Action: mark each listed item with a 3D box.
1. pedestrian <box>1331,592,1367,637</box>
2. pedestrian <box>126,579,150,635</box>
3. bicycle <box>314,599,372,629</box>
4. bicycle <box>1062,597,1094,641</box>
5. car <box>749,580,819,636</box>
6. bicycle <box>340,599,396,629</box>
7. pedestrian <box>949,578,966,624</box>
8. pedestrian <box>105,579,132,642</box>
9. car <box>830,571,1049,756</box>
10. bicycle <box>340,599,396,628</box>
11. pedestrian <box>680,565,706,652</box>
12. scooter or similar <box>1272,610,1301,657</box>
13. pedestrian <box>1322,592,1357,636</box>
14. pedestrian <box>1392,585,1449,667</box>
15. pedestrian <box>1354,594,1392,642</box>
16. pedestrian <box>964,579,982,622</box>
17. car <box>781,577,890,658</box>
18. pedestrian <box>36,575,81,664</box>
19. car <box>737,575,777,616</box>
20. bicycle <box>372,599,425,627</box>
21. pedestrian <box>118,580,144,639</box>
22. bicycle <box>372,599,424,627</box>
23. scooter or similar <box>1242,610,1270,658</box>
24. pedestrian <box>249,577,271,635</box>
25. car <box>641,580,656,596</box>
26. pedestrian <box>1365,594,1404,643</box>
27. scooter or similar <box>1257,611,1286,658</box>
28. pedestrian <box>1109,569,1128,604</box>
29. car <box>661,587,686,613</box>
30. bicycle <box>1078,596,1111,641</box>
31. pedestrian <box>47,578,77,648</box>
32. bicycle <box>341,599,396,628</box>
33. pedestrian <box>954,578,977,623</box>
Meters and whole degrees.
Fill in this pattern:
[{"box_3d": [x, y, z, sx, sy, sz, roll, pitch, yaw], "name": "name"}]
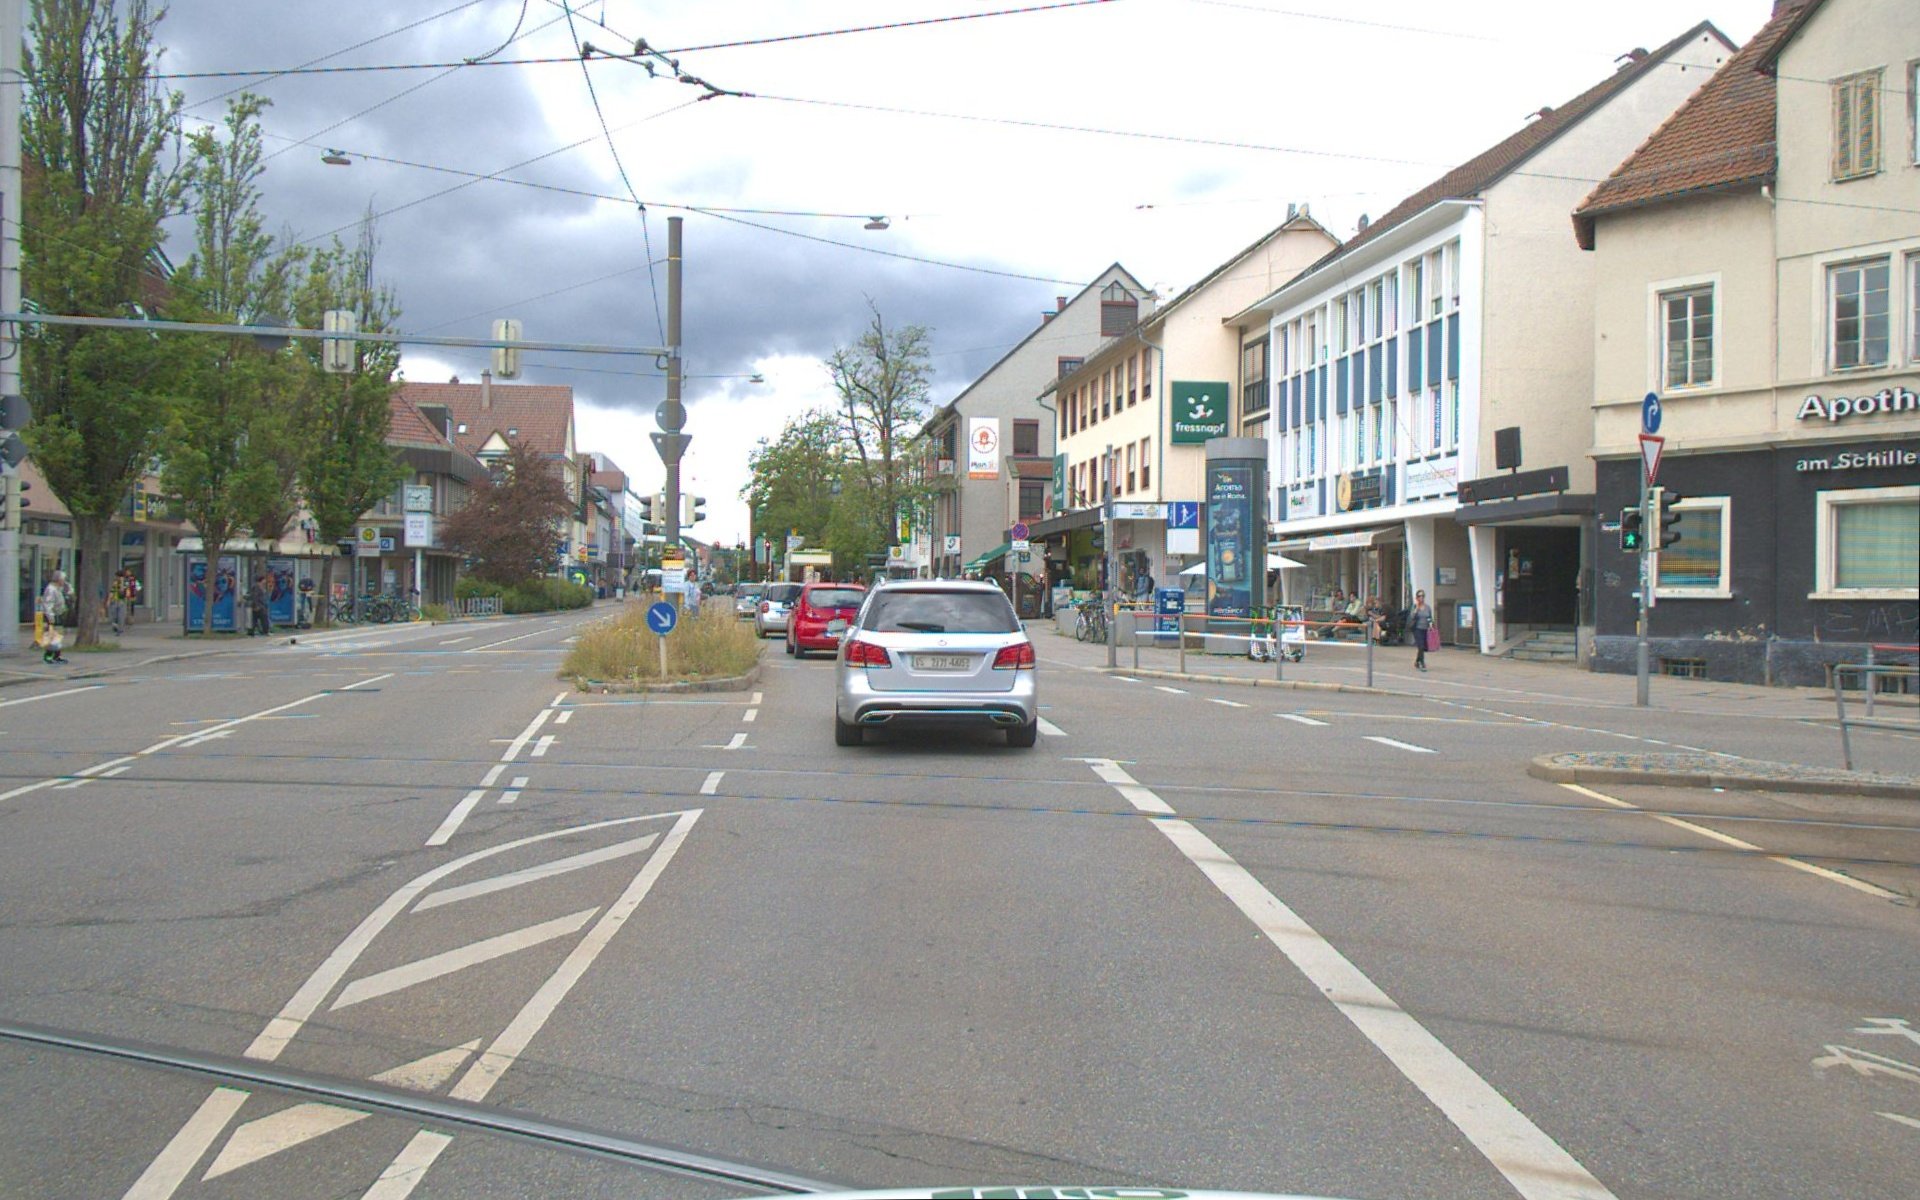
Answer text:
[{"box_3d": [10.450, 0.388, 44.466, 0.723, 1.184, 0.641, 1, 0, -11], "name": "pedestrian"}, {"box_3d": [-24.477, 0.205, 49.253, 0.569, 1.634, 0.640, 0, 0, -21], "name": "pedestrian"}, {"box_3d": [-22.417, 0.498, 60.139, 1.907, 1.047, 0.528, 1, 0, -18], "name": "bicycle"}, {"box_3d": [3.057, 0.485, 43.056, 0.439, 1.110, 2.146, 0, 0, -7], "name": "bicycle"}, {"box_3d": [-5.052, 0.205, 47.150, 1.703, 1.534, 3.991, 0, 1, -10], "name": "car"}, {"box_3d": [-21.807, 0.511, 60.972, 1.907, 1.047, 0.528, 1, 0, -18], "name": "bicycle"}, {"box_3d": [-0.098, 0.034, 62.287, 0.566, 1.695, 0.651, 1, 0, -2], "name": "pedestrian"}, {"box_3d": [-22.253, 0.277, 43.747, 0.569, 1.634, 0.640, 0, 0, -21], "name": "pedestrian"}, {"box_3d": [-0.136, 0.503, 15.773, 1.807, 1.534, 4.172, 0, 1, 1], "name": "car"}, {"box_3d": [-22.030, 0.504, 61.605, 1.907, 1.047, 0.528, 1, 0, -18], "name": "bicycle"}, {"box_3d": [-5.579, 0.175, 34.549, 0.523, 1.794, 0.578, 0, 0, -10], "name": "pedestrian"}, {"box_3d": [7.180, 0.731, 36.405, 0.266, 1.019, 1.026, 0, 0, -11], "name": "scooter or similar"}, {"box_3d": [10.346, 0.374, 45.119, 0.723, 1.184, 0.641, 1, 0, -11], "name": "pedestrian"}, {"box_3d": [9.185, 0.513, 32.977, 0.633, 1.619, 0.890, 1, 0, -28], "name": "pedestrian"}, {"box_3d": [10.456, 0.447, 41.869, 0.723, 1.184, 0.641, 1, 0, -11], "name": "pedestrian"}, {"box_3d": [0.461, 0.012, 58.600, 0.566, 1.495, 0.651, 1, 0, 2], "name": "pedestrian"}, {"box_3d": [-2.578, 0.324, 33.499, 1.703, 1.534, 3.989, 1, 0, -11], "name": "car"}, {"box_3d": [-16.743, 0.350, 30.722, 0.624, 1.634, 0.700, 0, 0, -21], "name": "pedestrian"}, {"box_3d": [-8.980, -0.216, 73.136, 1.701, 1.789, 3.994, 0, 1, -7], "name": "car"}, {"box_3d": [-21.725, 0.505, 64.022, 1.907, 1.047, 0.528, 1, 0, -18], "name": "bicycle"}, {"box_3d": [-23.084, 0.250, 46.054, 0.569, 1.634, 0.640, 0, 0, -21], "name": "pedestrian"}, {"box_3d": [-22.056, 0.494, 64.956, 1.907, 1.047, 0.528, 1, 0, -18], "name": "bicycle"}, {"box_3d": [6.481, 0.746, 36.233, 0.266, 1.019, 1.026, 0, 0, -11], "name": "scooter or similar"}, {"box_3d": [-19.159, 0.173, 45.268, 0.526, 1.573, 0.575, 0, 0, -24], "name": "pedestrian"}, {"box_3d": [-43.232, -1.680, 229.381, 1.958, 2.049, 3.989, 1, 0, -11], "name": "car"}, {"box_3d": [10.576, 0.451, 41.223, 0.723, 1.184, 0.641, 1, 0, -11], "name": "pedestrian"}, {"box_3d": [6.830, 0.749, 36.323, 0.266, 1.019, 1.026, 0, 0, -11], "name": "scooter or similar"}, {"box_3d": [5.646, -0.492, 59.046, 0.523, 1.240, 0.578, 1, 0, -10], "name": "pedestrian"}, {"box_3d": [-23.380, 0.003, 135.145, 1.957, 2.049, 3.991, 1, 0, -10], "name": "car"}, {"box_3d": [3.494, 0.467, 43.119, 0.439, 1.127, 2.146, 0, 0, -7], "name": "bicycle"}, {"box_3d": [-24.333, 0.352, 44.817, 0.633, 1.868, 0.576, 0, 0, -22], "name": "pedestrian"}, {"box_3d": [-22.236, 0.497, 62.173, 1.907, 1.047, 0.528, 1, 0, -18], "name": "bicycle"}, {"box_3d": [0.183, 0.022, 54.789, 0.568, 1.460, 0.648, 1, 0, -15], "name": "pedestrian"}]
